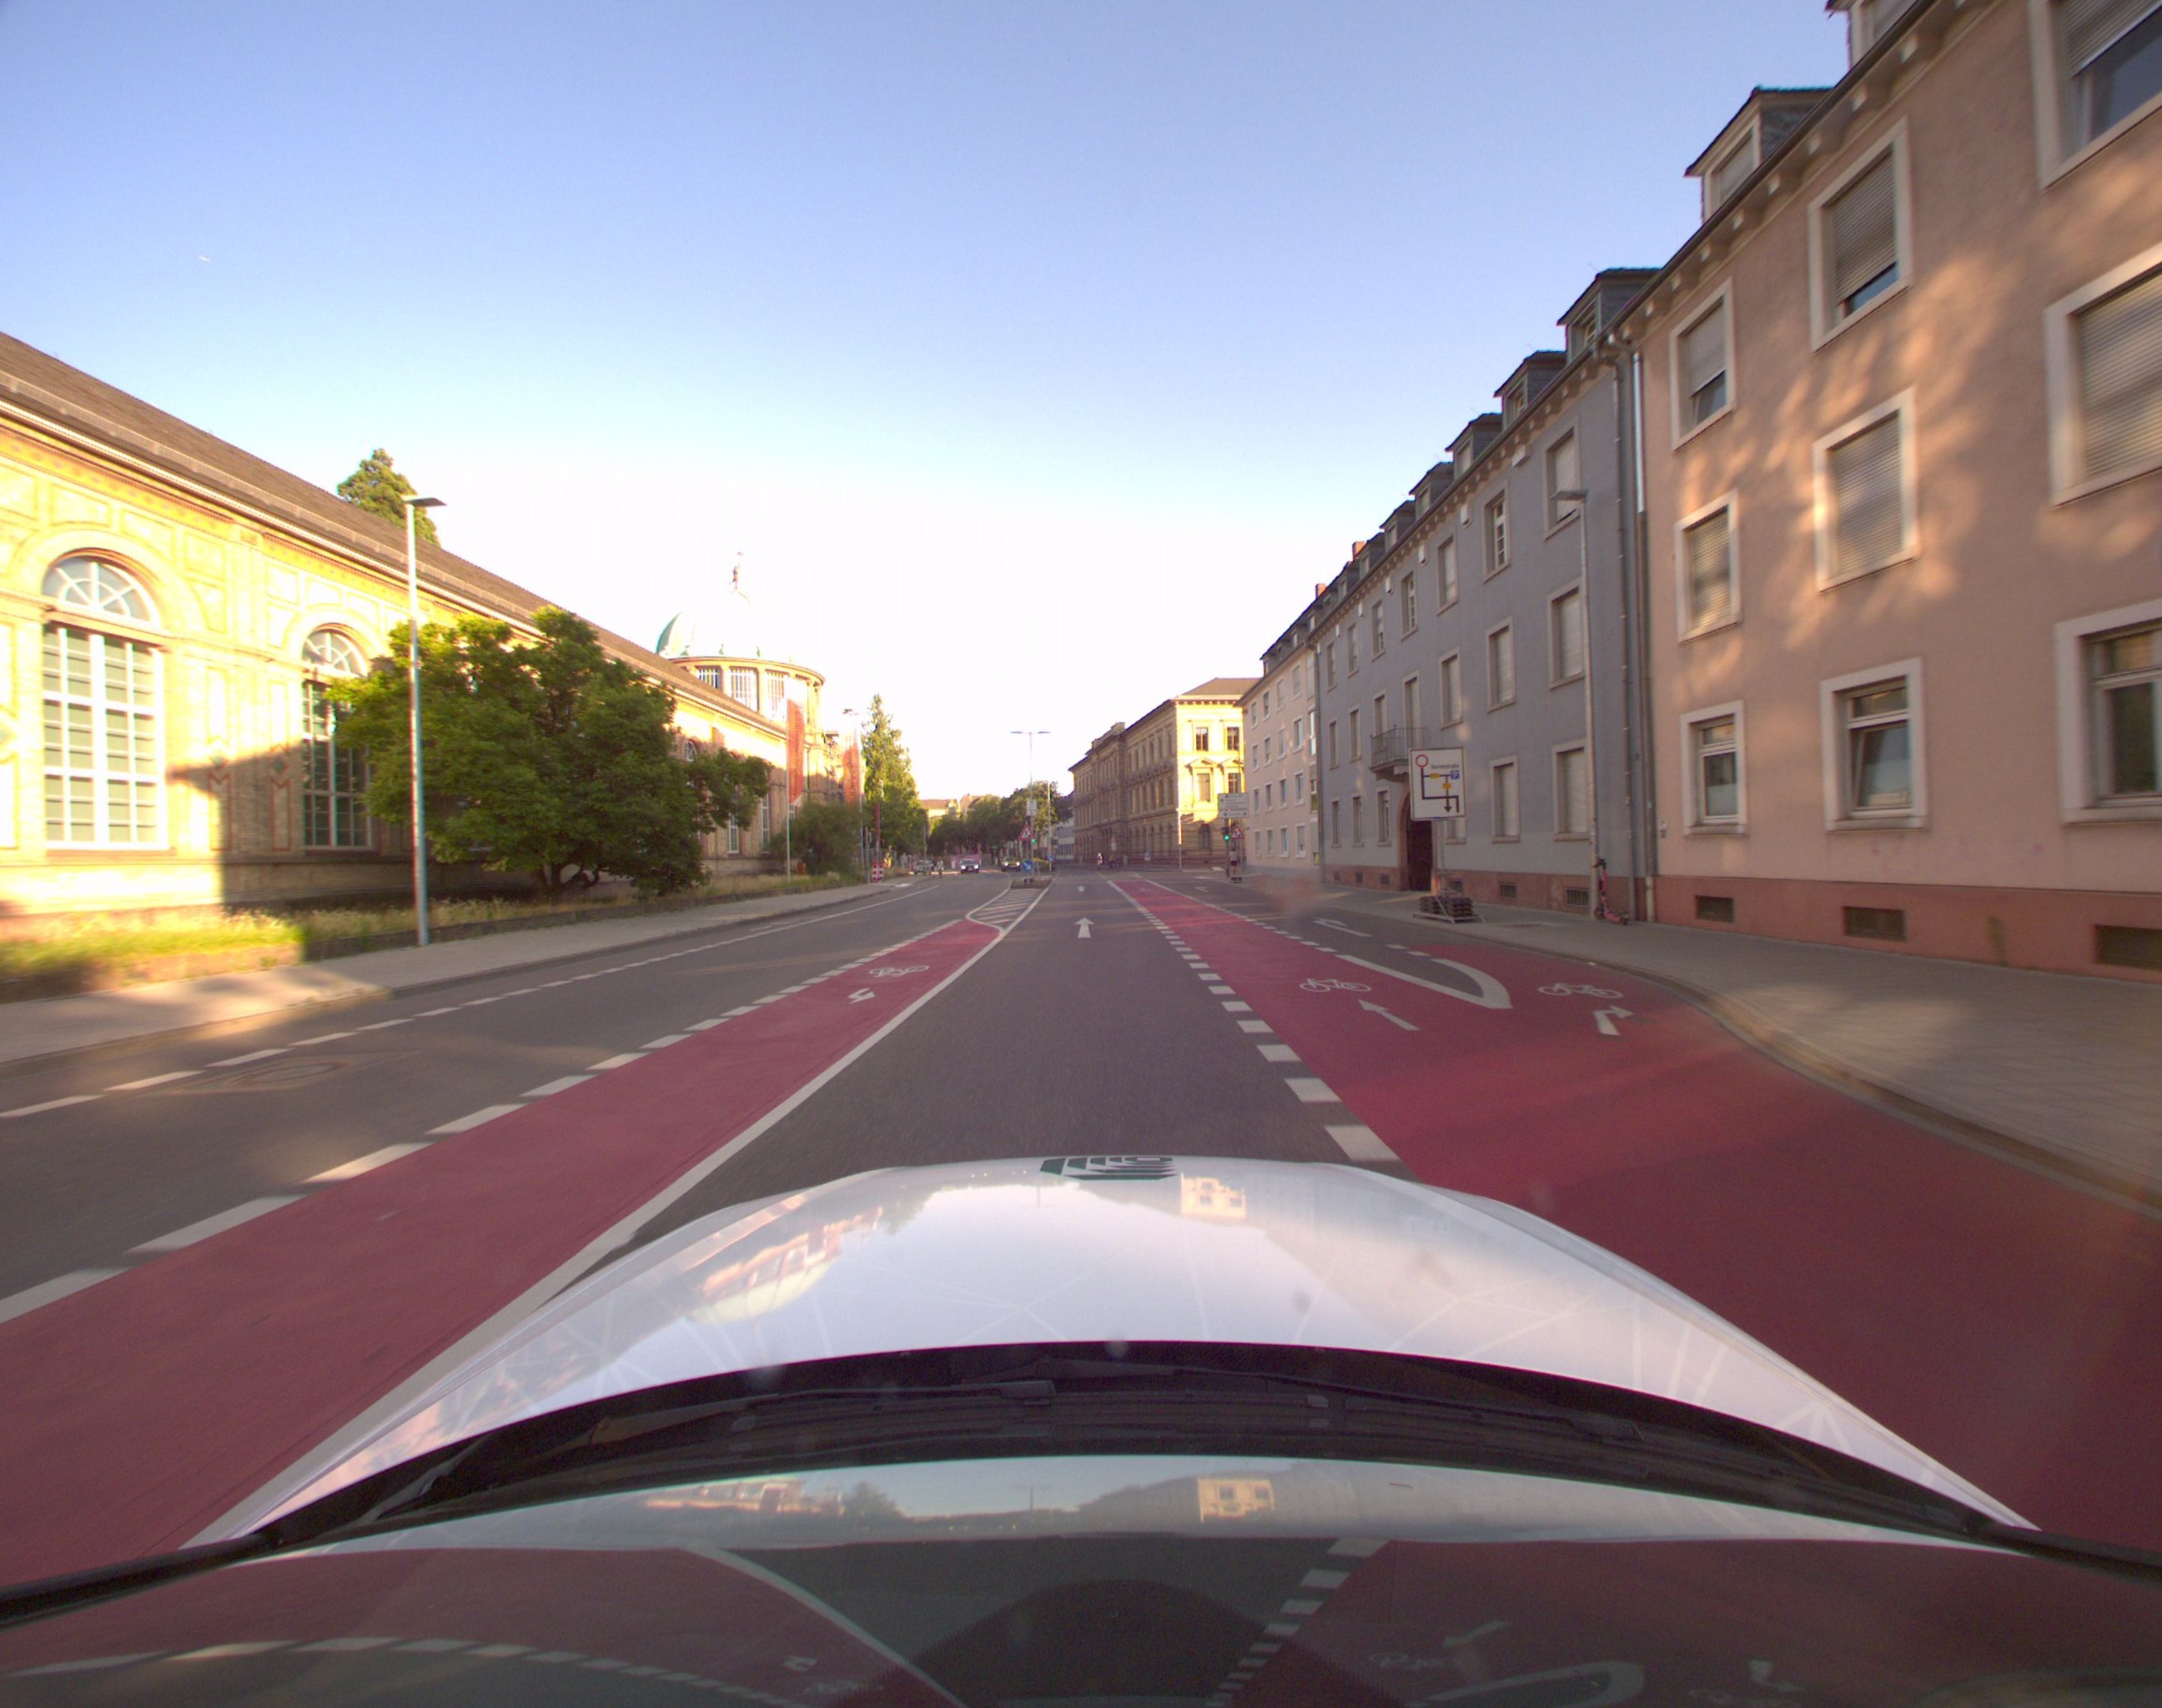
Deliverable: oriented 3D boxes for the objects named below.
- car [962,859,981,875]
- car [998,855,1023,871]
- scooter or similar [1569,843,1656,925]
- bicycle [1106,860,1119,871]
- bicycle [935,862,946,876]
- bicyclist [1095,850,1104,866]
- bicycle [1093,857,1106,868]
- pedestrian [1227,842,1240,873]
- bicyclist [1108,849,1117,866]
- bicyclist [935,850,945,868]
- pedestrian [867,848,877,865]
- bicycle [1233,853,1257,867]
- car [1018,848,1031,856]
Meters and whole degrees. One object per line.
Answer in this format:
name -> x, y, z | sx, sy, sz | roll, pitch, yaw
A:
car -> -11.408, 1.319, 84.934 | 1.821, 1.508, 4.418 | -2, 0, -6
car -> -7.356, 0.963, 85.579 | 1.836, 1.547, 4.125 | -2, 0, 5
scooter or similar -> 10.171, 0.544, 15.647 | 0.721, 1.459, 1.677 | -4, 0, 10
bicycle -> 3.138, 1.141, 80.777 | 0.653, 1.071, 2.247 | 1, -1, -14
bicycle -> -12.114, 1.284, 70.364 | 0.753, 1.090, 1.928 | -3, 0, -7
bicyclist -> 1.835, 0.358, 80.536 | 0.670, 1.566, 0.694 | 1, -1, -16
bicycle -> 1.828, 0.835, 80.545 | 0.671, 1.071, 1.890 | 0, -1, -16
pedestrian -> 10.017, 0.224, 53.481 | 0.779, 2.013, 0.998 | -1, 0, 14
bicyclist -> 3.127, 0.343, 80.888 | 0.650, 1.760, 0.860 | 1, -1, -14
bicyclist -> -12.152, 0.424, 70.337 | 0.746, 1.460, 0.935 | -3, 0, -7
pedestrian -> -19.270, 0.246, 75.081 | 0.735, 1.579, 0.761 | -1, 0, -7
bicycle -> 15.249, 0.552, 75.641 | 2.045, 1.207, 0.861 | -2, 2, -3
car -> -12.405, -0.462, 179.831 | 1.819, 1.560, 3.837 | -1, -1, -21
